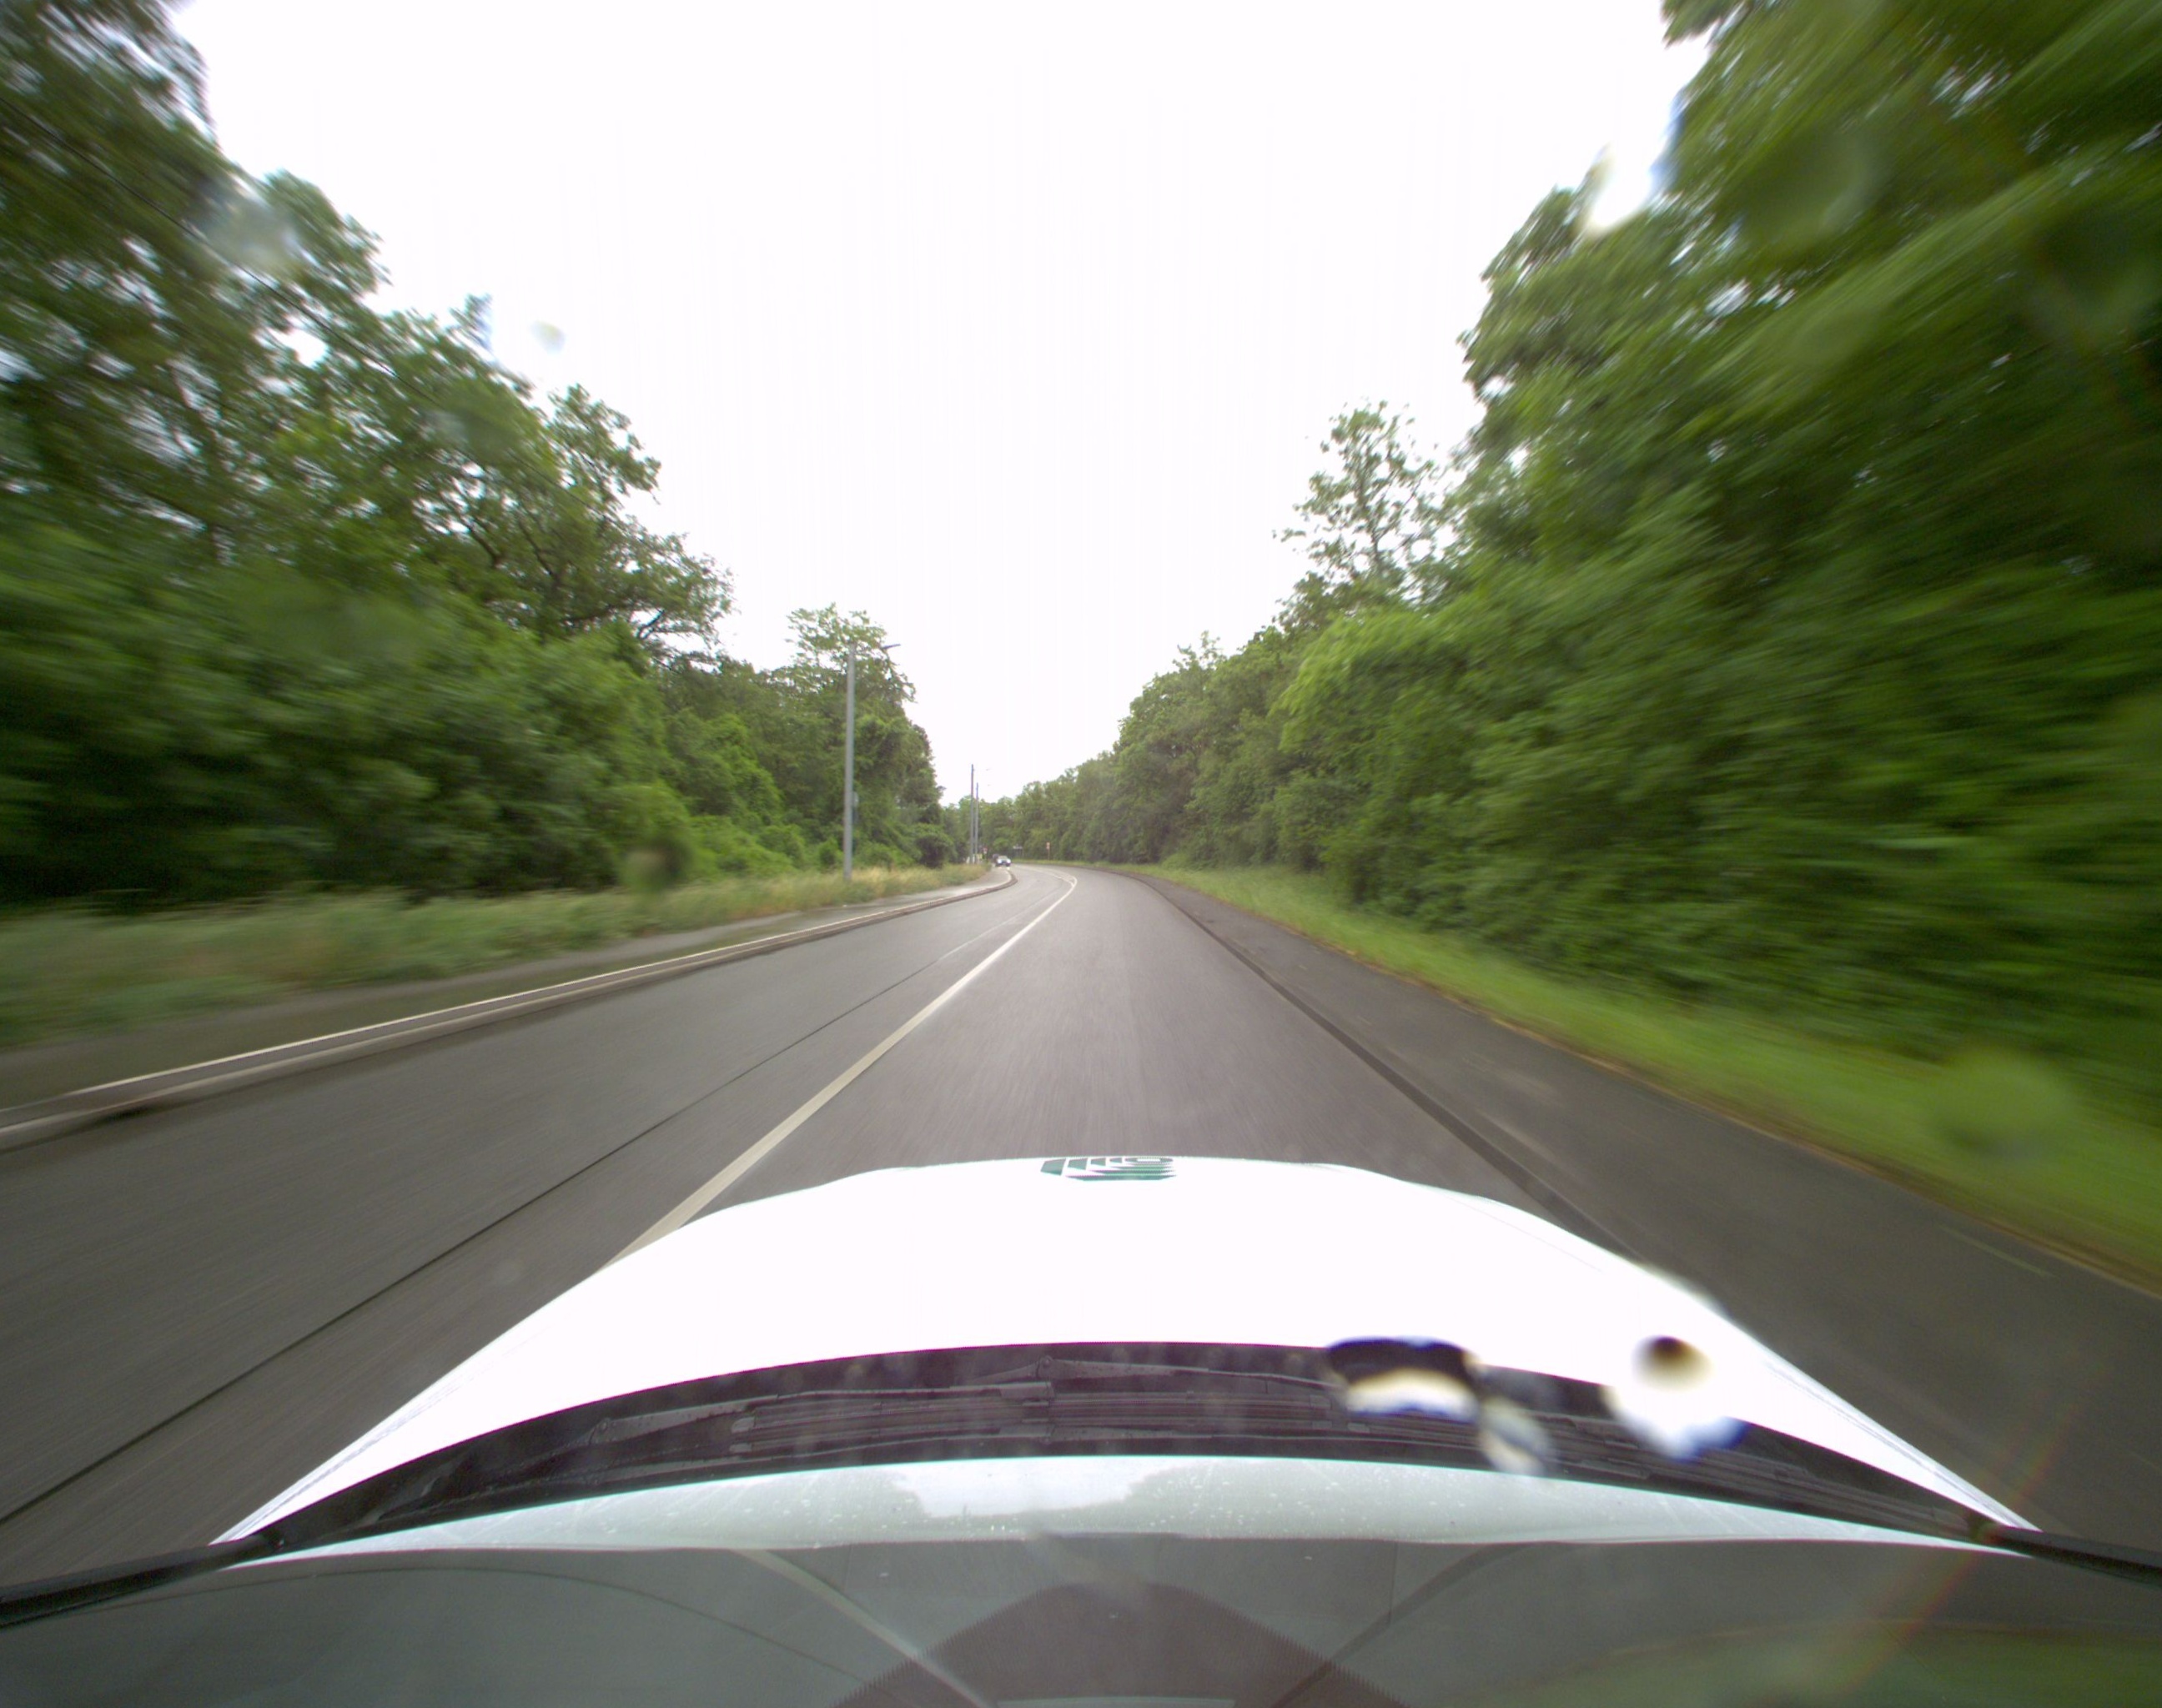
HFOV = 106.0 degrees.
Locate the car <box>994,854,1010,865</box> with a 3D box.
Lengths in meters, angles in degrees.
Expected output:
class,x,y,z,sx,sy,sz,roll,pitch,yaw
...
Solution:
class,x,y,z,sx,sy,sz,roll,pitch,yaw
car,-12.921,0.914,132.832,1.996,1.787,4.686,-2,0,-13
